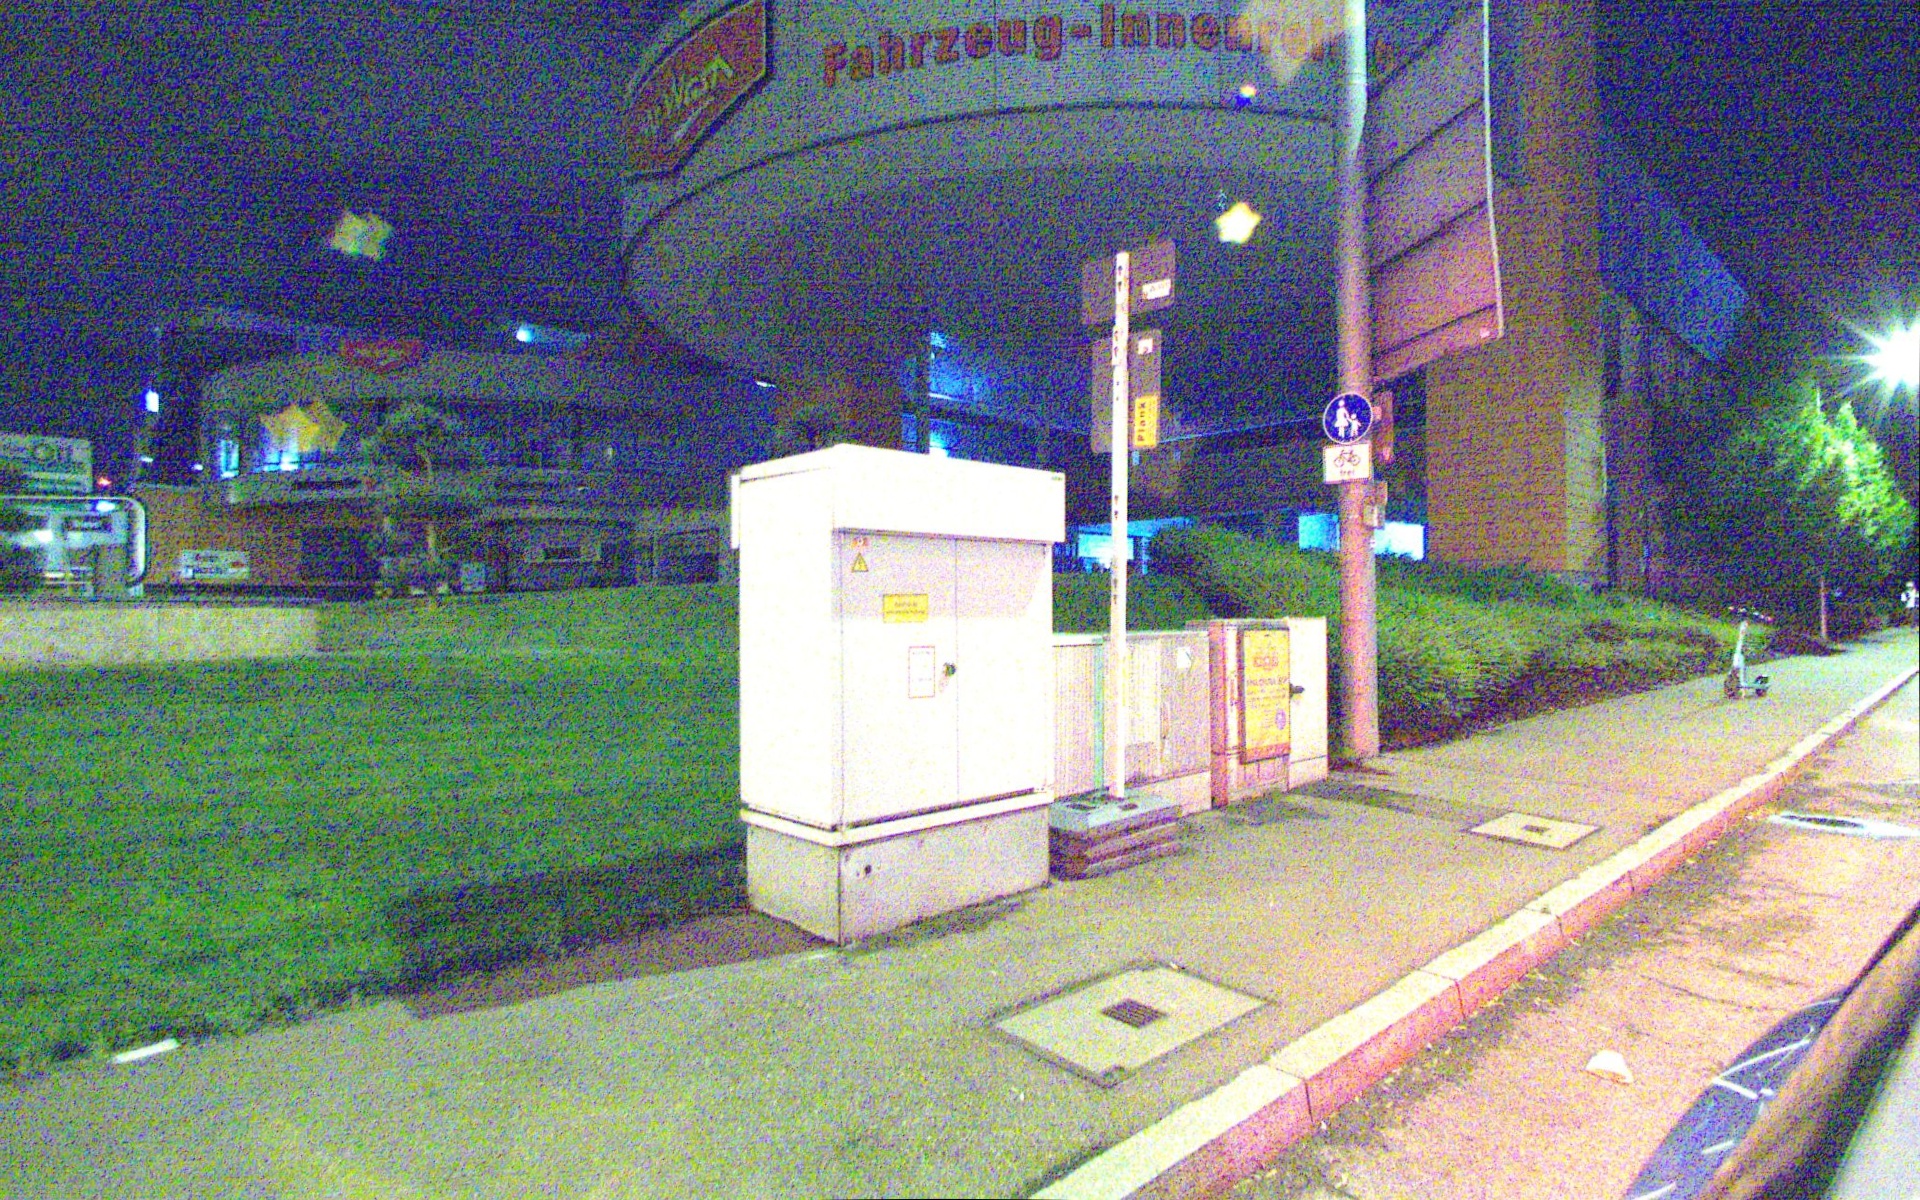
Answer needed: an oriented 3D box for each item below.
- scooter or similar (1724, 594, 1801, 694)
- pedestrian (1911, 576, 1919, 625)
[{"bbox_3d":[11.136,0.580,14.038,1.367,1.295,0.569,0,1,-41],"label":"scooter or similar"},{"bbox_3d":[36.745,0.010,38.449,0.597,1.842,0.824,-1,0,-40],"label":"pedestrian"}]
